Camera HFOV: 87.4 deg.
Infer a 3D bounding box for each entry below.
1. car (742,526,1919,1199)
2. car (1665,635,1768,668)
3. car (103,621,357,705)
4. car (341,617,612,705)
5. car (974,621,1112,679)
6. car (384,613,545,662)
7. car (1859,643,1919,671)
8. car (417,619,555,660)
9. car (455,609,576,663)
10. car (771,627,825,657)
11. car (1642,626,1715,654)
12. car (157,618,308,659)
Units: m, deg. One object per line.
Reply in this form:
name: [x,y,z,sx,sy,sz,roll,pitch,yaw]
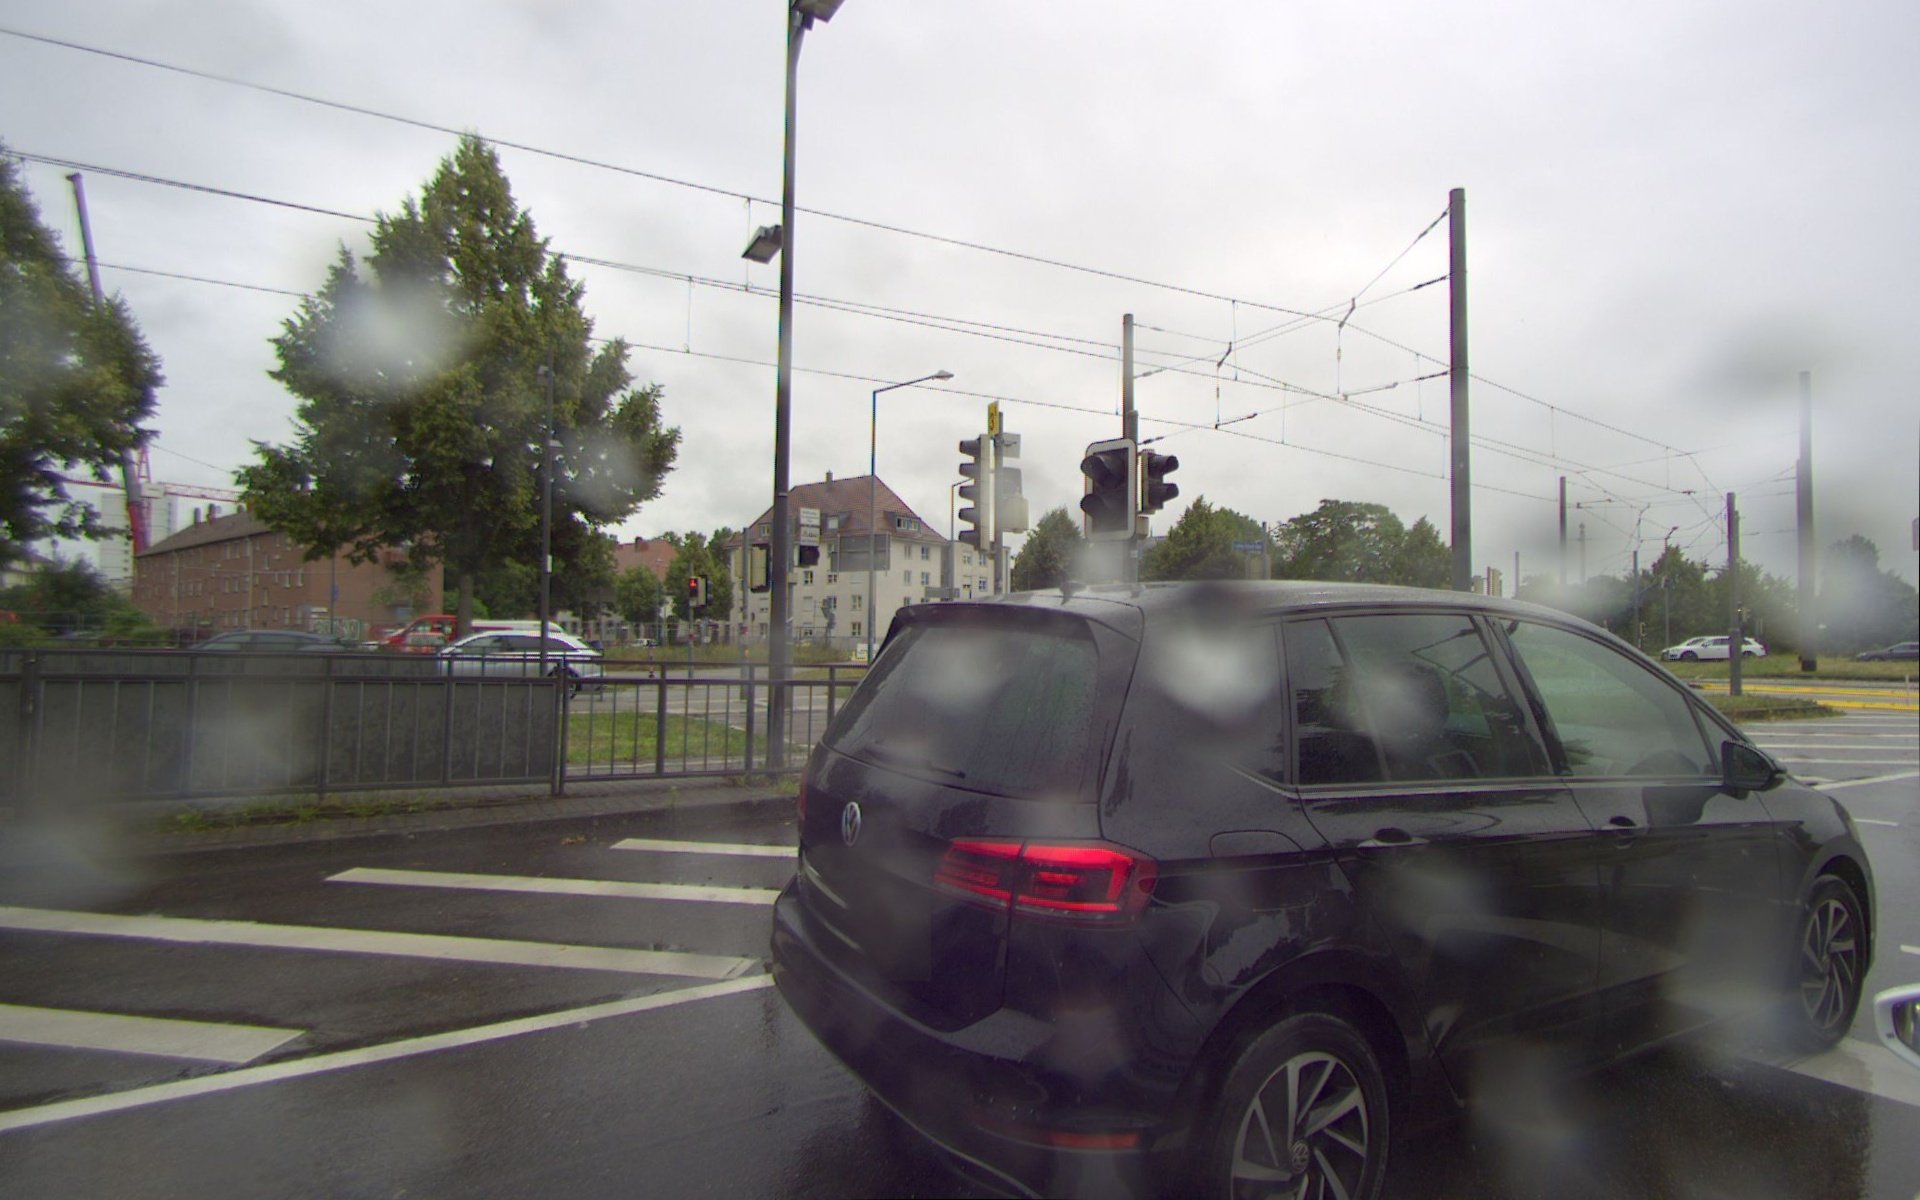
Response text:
car: [1.593,0.696,3.566,4.281,1.537,1.775,2,0,-30]
car: [46.695,3.168,62.109,4.772,1.767,1.777,2,0,23]
car: [-14.564,1.239,20.357,3.954,1.506,1.816,2,0,-31]
car: [-9.463,1.147,19.803,4.580,1.506,1.813,2,0,-35]
car: [2.476,1.397,29.116,1.825,1.506,4.204,2,0,41]
car: [-22.721,1.719,46.416,6.329,2.040,2.346,2,0,-20]
car: [57.175,3.476,60.480,4.487,1.512,1.601,1,0,45]
car: [-24.871,2.075,53.008,6.329,2.040,2.347,1,-2,-20]
car: [-26.393,2.144,59.885,6.329,2.978,2.346,2,0,-20]
car: [-13.676,3.504,84.555,4.775,2.358,1.988,2,0,45]
car: [47.663,2.632,66.724,3.786,1.642,1.540,2,0,31]
car: [-39.627,2.097,54.844,2.325,2.040,6.388,2,0,44]
